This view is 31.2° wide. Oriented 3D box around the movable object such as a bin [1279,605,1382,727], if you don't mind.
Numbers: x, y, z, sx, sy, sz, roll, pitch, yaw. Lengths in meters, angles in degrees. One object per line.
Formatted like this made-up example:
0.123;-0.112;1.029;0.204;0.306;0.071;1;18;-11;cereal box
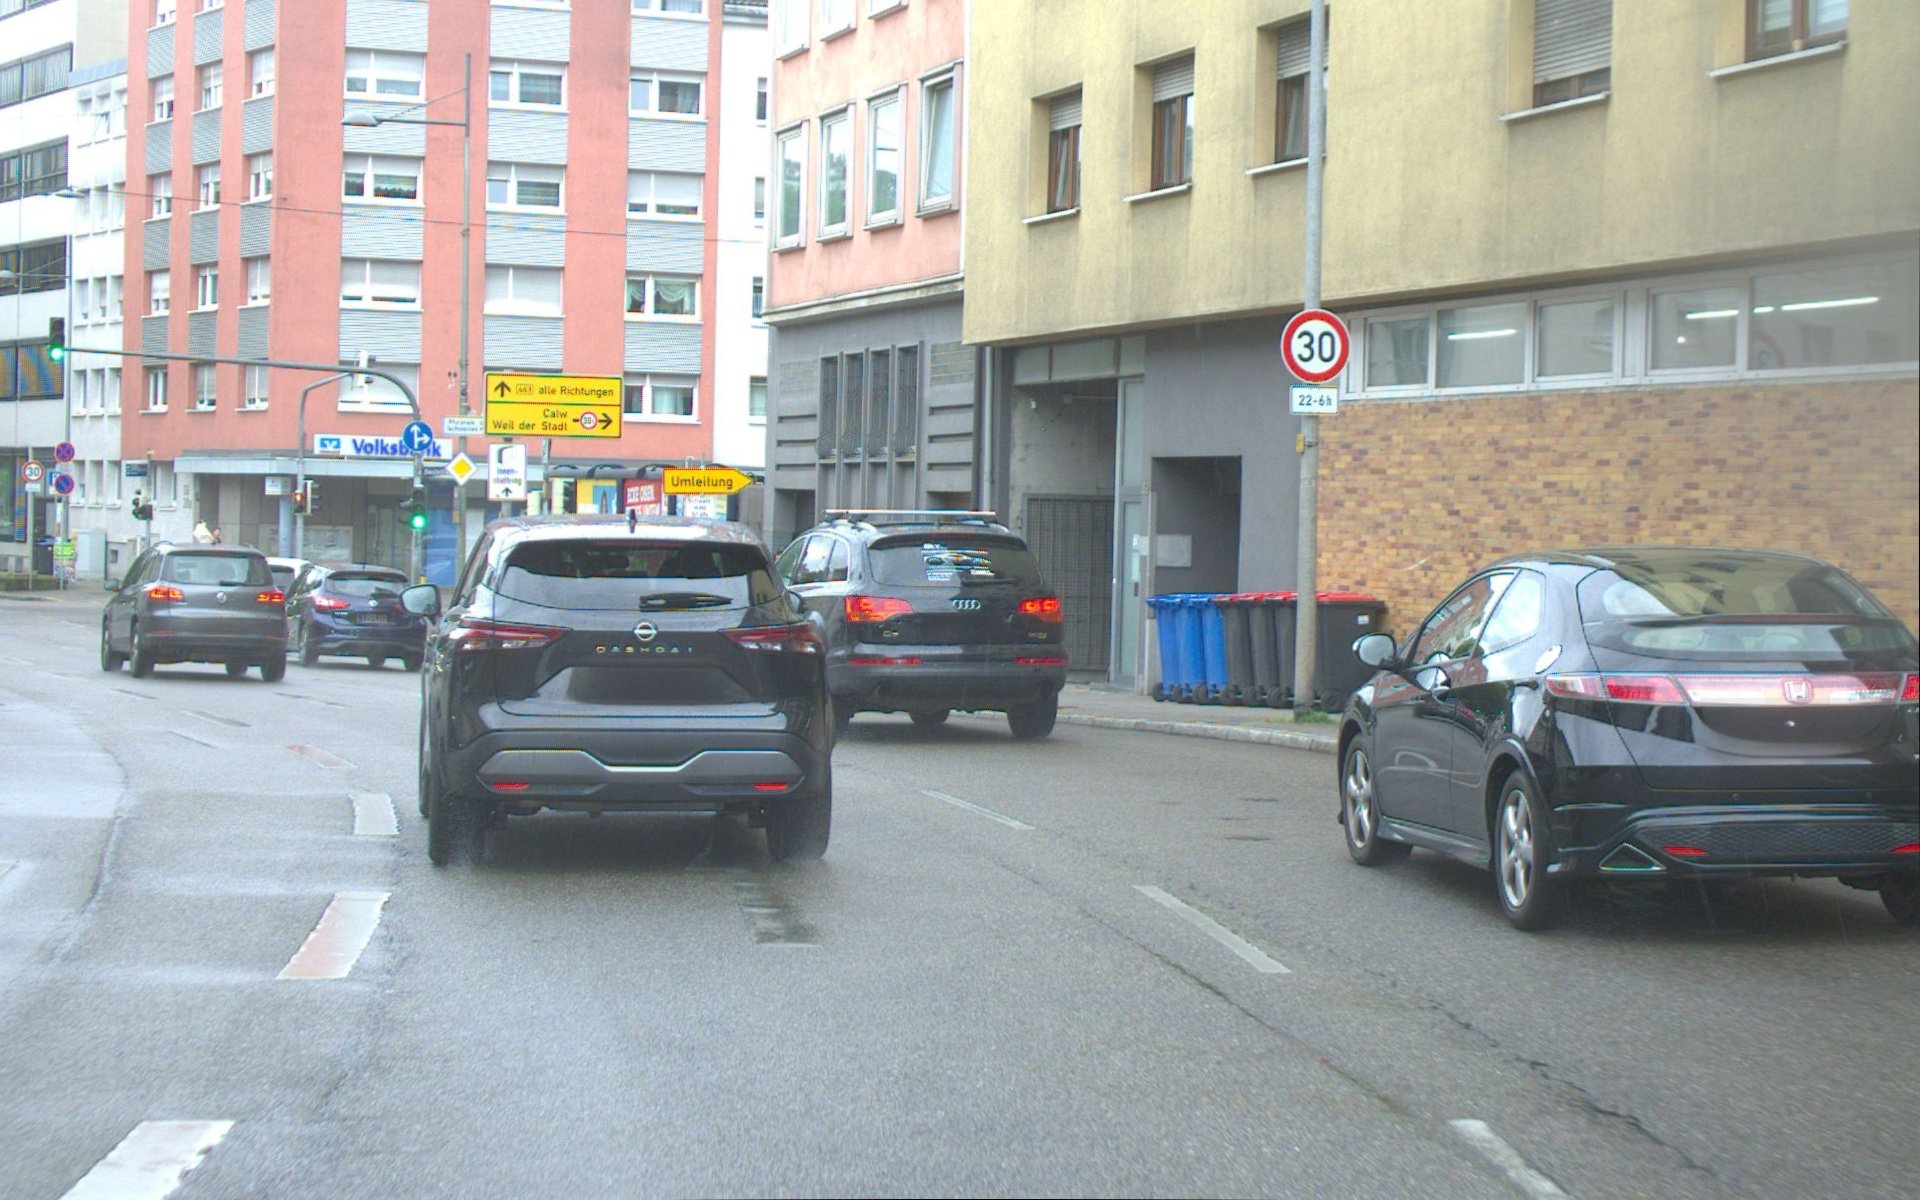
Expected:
3.338;0.595;31.008;0.680;1.073;0.668;1;0;-20;movable object such as a bin

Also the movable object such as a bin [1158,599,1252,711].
2.392;0.536;33.582;0.680;1.073;0.668;1;0;-20;movable object such as a bin

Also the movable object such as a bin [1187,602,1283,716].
2.631;0.563;32.940;0.680;1.073;0.668;1;0;-20;movable object such as a bin

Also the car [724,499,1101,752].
-0.504;0.143;27.981;2.020;1.863;4.901;-1;1;-13;car

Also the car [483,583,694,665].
-8.014;0.522;74.150;3.986;1.514;2.000;3;1;-30;car

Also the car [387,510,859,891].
-1.768;0.393;16.792;1.894;1.623;4.001;0;1;-11;car

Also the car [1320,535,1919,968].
2.787;0.493;14.139;1.783;1.491;4.057;0;1;-6;car

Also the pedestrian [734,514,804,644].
-2.678;-0.297;48.054;0.672;1.781;1.095;2;1;-17;pedestrian

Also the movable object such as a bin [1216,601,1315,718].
2.865;0.555;32.299;0.680;1.073;0.668;1;0;-20;movable object such as a bin

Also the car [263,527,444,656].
-8.986;-0.160;50.724;1.945;1.810;4.001;-1;1;-20;car

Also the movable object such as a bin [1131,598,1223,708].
2.160;0.525;34.244;0.680;1.073;0.668;1;0;-20;movable object such as a bin

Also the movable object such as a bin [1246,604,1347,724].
3.096;0.587;31.651;0.680;1.073;0.668;1;0;-20;movable object such as a bin

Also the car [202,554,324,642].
-13.108;-0.066;64.848;1.993;1.481;4.001;3;0;-9;car

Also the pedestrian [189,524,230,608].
-19.702;-0.887;90.272;0.825;2.151;0.770;3;0;-22;pedestrian

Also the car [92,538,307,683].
-9.416;0.078;42.371;1.945;1.679;4.001;-1;1;-22;car
